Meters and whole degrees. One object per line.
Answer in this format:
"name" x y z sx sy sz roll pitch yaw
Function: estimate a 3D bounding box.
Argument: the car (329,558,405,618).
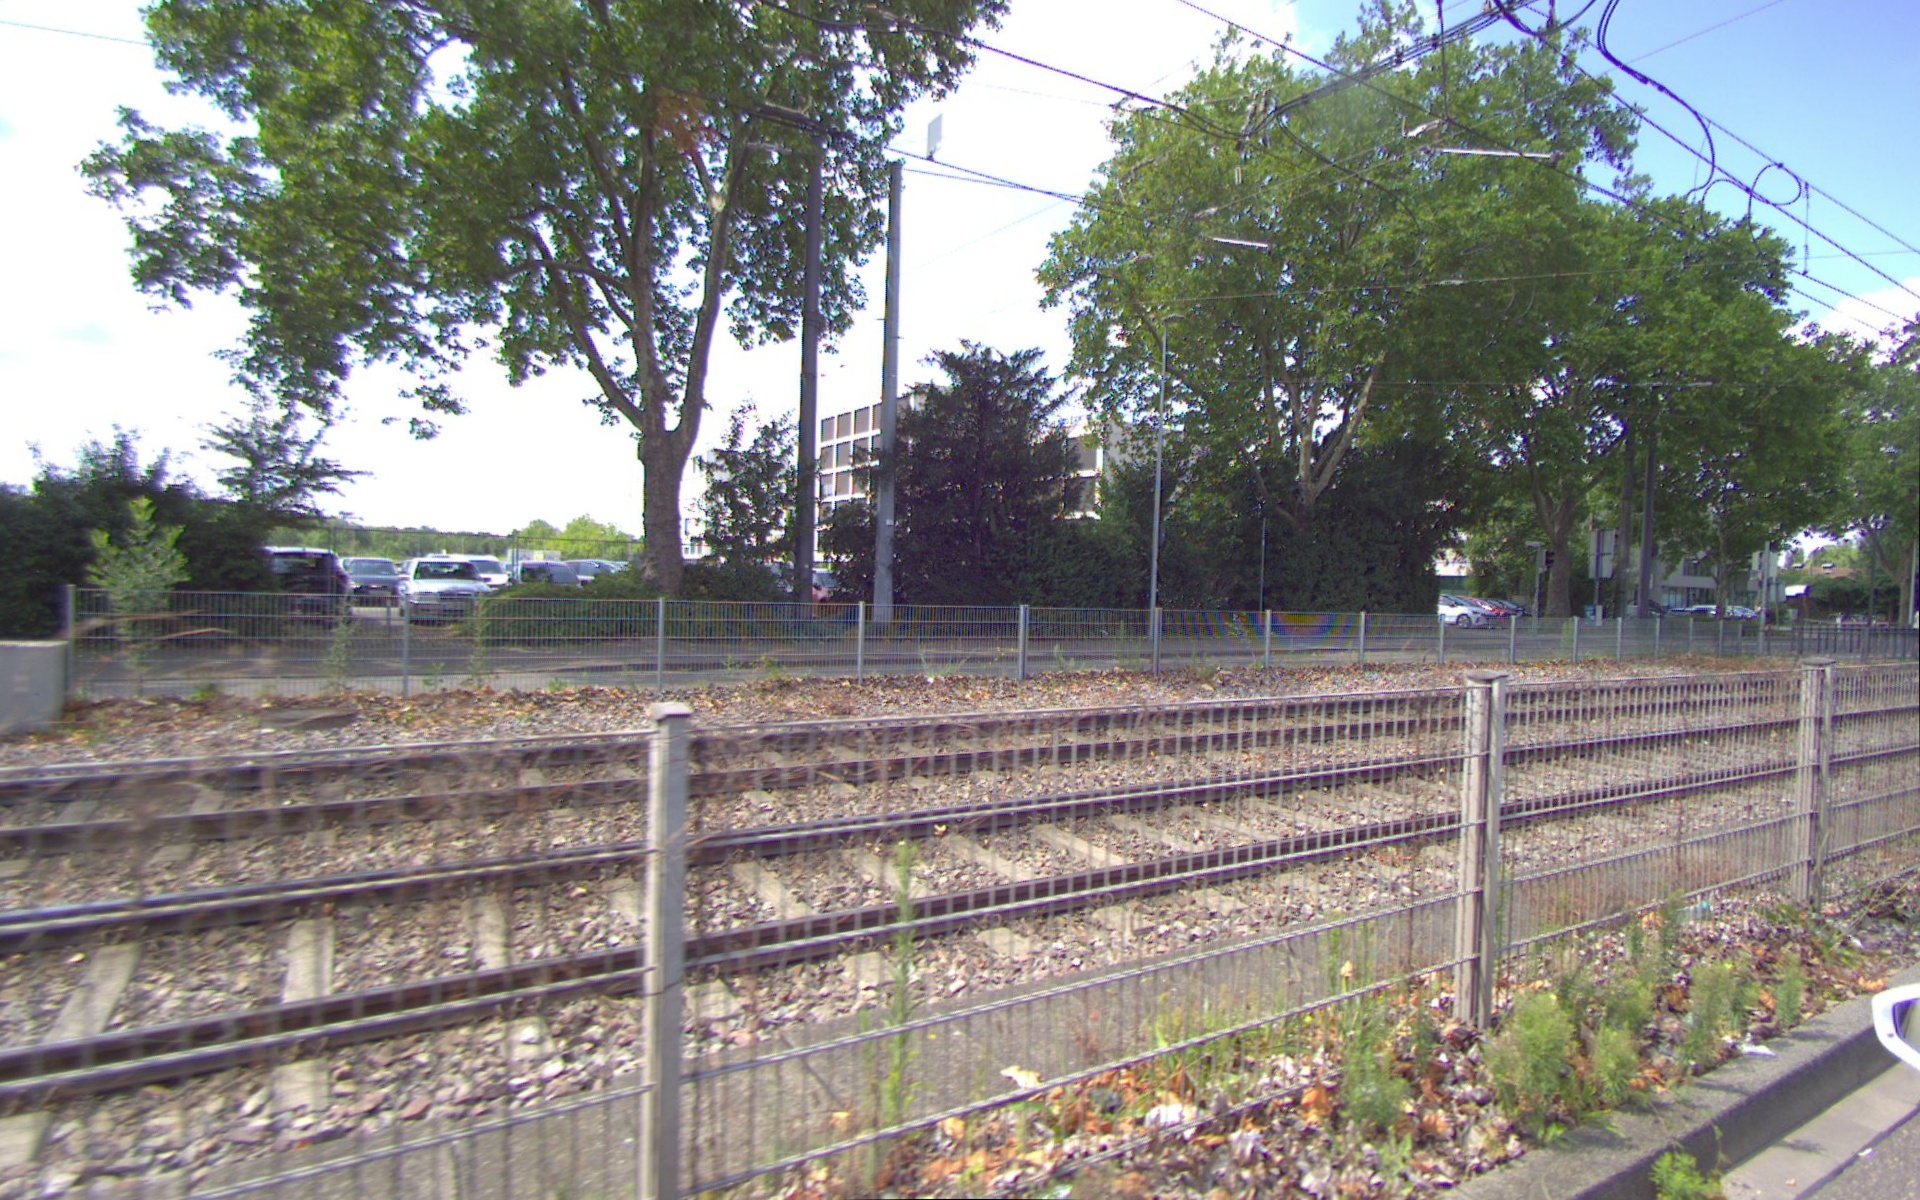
"car" -19.049 -0.400 32.284 1.977 1.795 3.966 1 1 -31

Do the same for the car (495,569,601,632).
"car" -10.646 -0.018 25.794 1.977 1.461 3.966 1 1 -31

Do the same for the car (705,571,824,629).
"car" -5.448 -0.024 27.621 1.977 1.461 3.966 1 1 -31

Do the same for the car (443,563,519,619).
"car" -16.420 -0.313 34.328 1.977 1.795 3.966 1 1 -31

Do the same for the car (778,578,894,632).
"car" -3.741 0.124 29.677 1.977 1.461 3.966 1 1 -31

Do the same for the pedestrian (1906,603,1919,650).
"pedestrian" 28.530 0.790 29.549 0.913 1.361 0.856 1 -1 -35

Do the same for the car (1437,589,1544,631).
"car" 24.163 0.432 45.877 1.785 1.773 3.961 0 1 -34

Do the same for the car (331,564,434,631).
"car" -13.794 -0.085 23.998 1.977 1.461 3.966 1 1 -31

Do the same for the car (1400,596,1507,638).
"car" 22.127 0.724 45.174 1.785 1.773 3.961 0 1 -34
